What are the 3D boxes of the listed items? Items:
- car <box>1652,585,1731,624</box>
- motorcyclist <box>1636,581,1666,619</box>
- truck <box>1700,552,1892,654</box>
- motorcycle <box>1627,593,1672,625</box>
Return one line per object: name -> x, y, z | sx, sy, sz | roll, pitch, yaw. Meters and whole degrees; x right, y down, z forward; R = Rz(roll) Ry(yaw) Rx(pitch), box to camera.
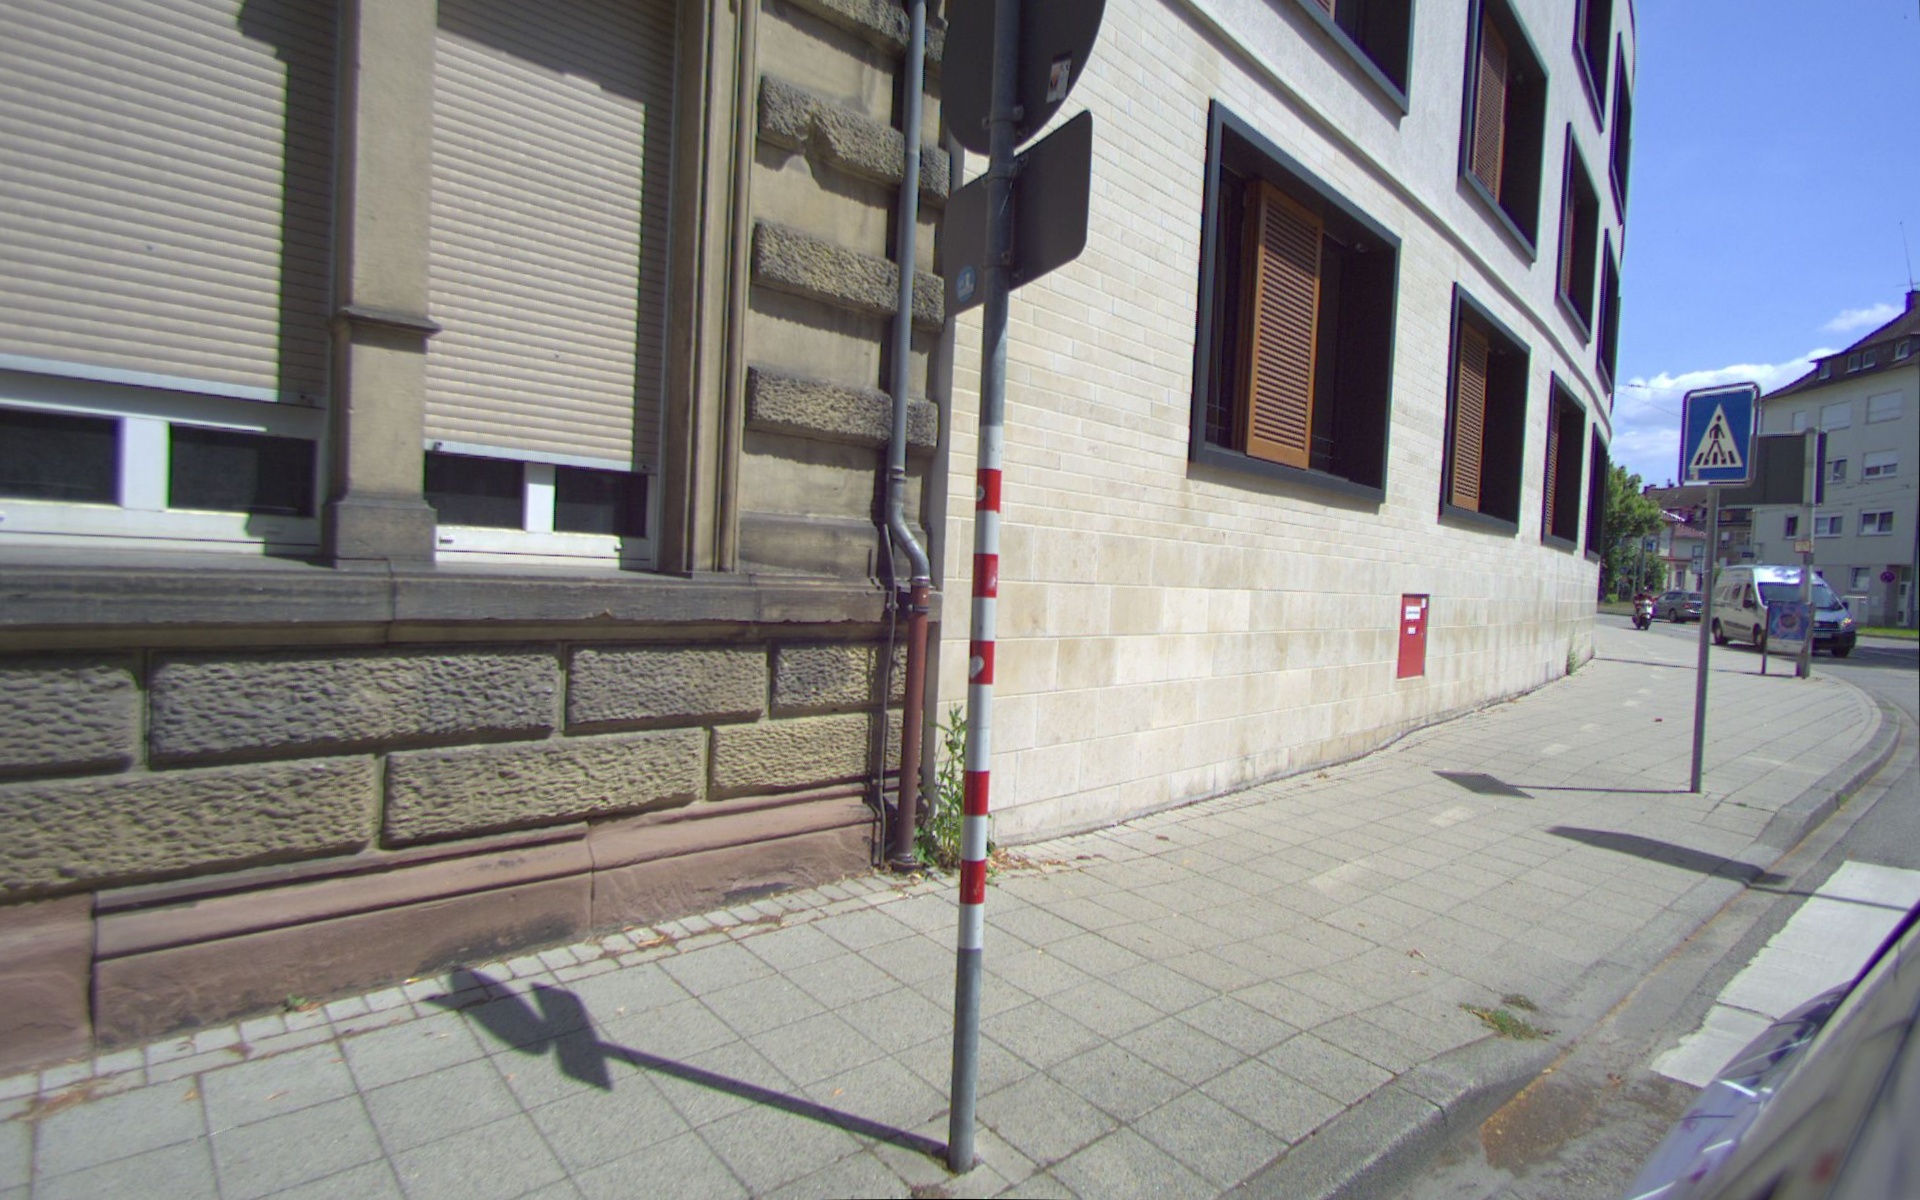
car -> 31.570, 0.146, 43.809 | 1.723, 1.506, 4.375 | 3, 2, 22
motorcyclist -> 25.063, -0.008, 36.708 | 0.728, 1.353, 1.159 | 2, 1, 28
truck -> 21.528, -0.053, 26.385 | 1.997, 2.276, 5.374 | 4, 3, 20
motorcycle -> 25.102, 0.312, 36.884 | 1.048, 1.093, 2.591 | 2, 1, 28
